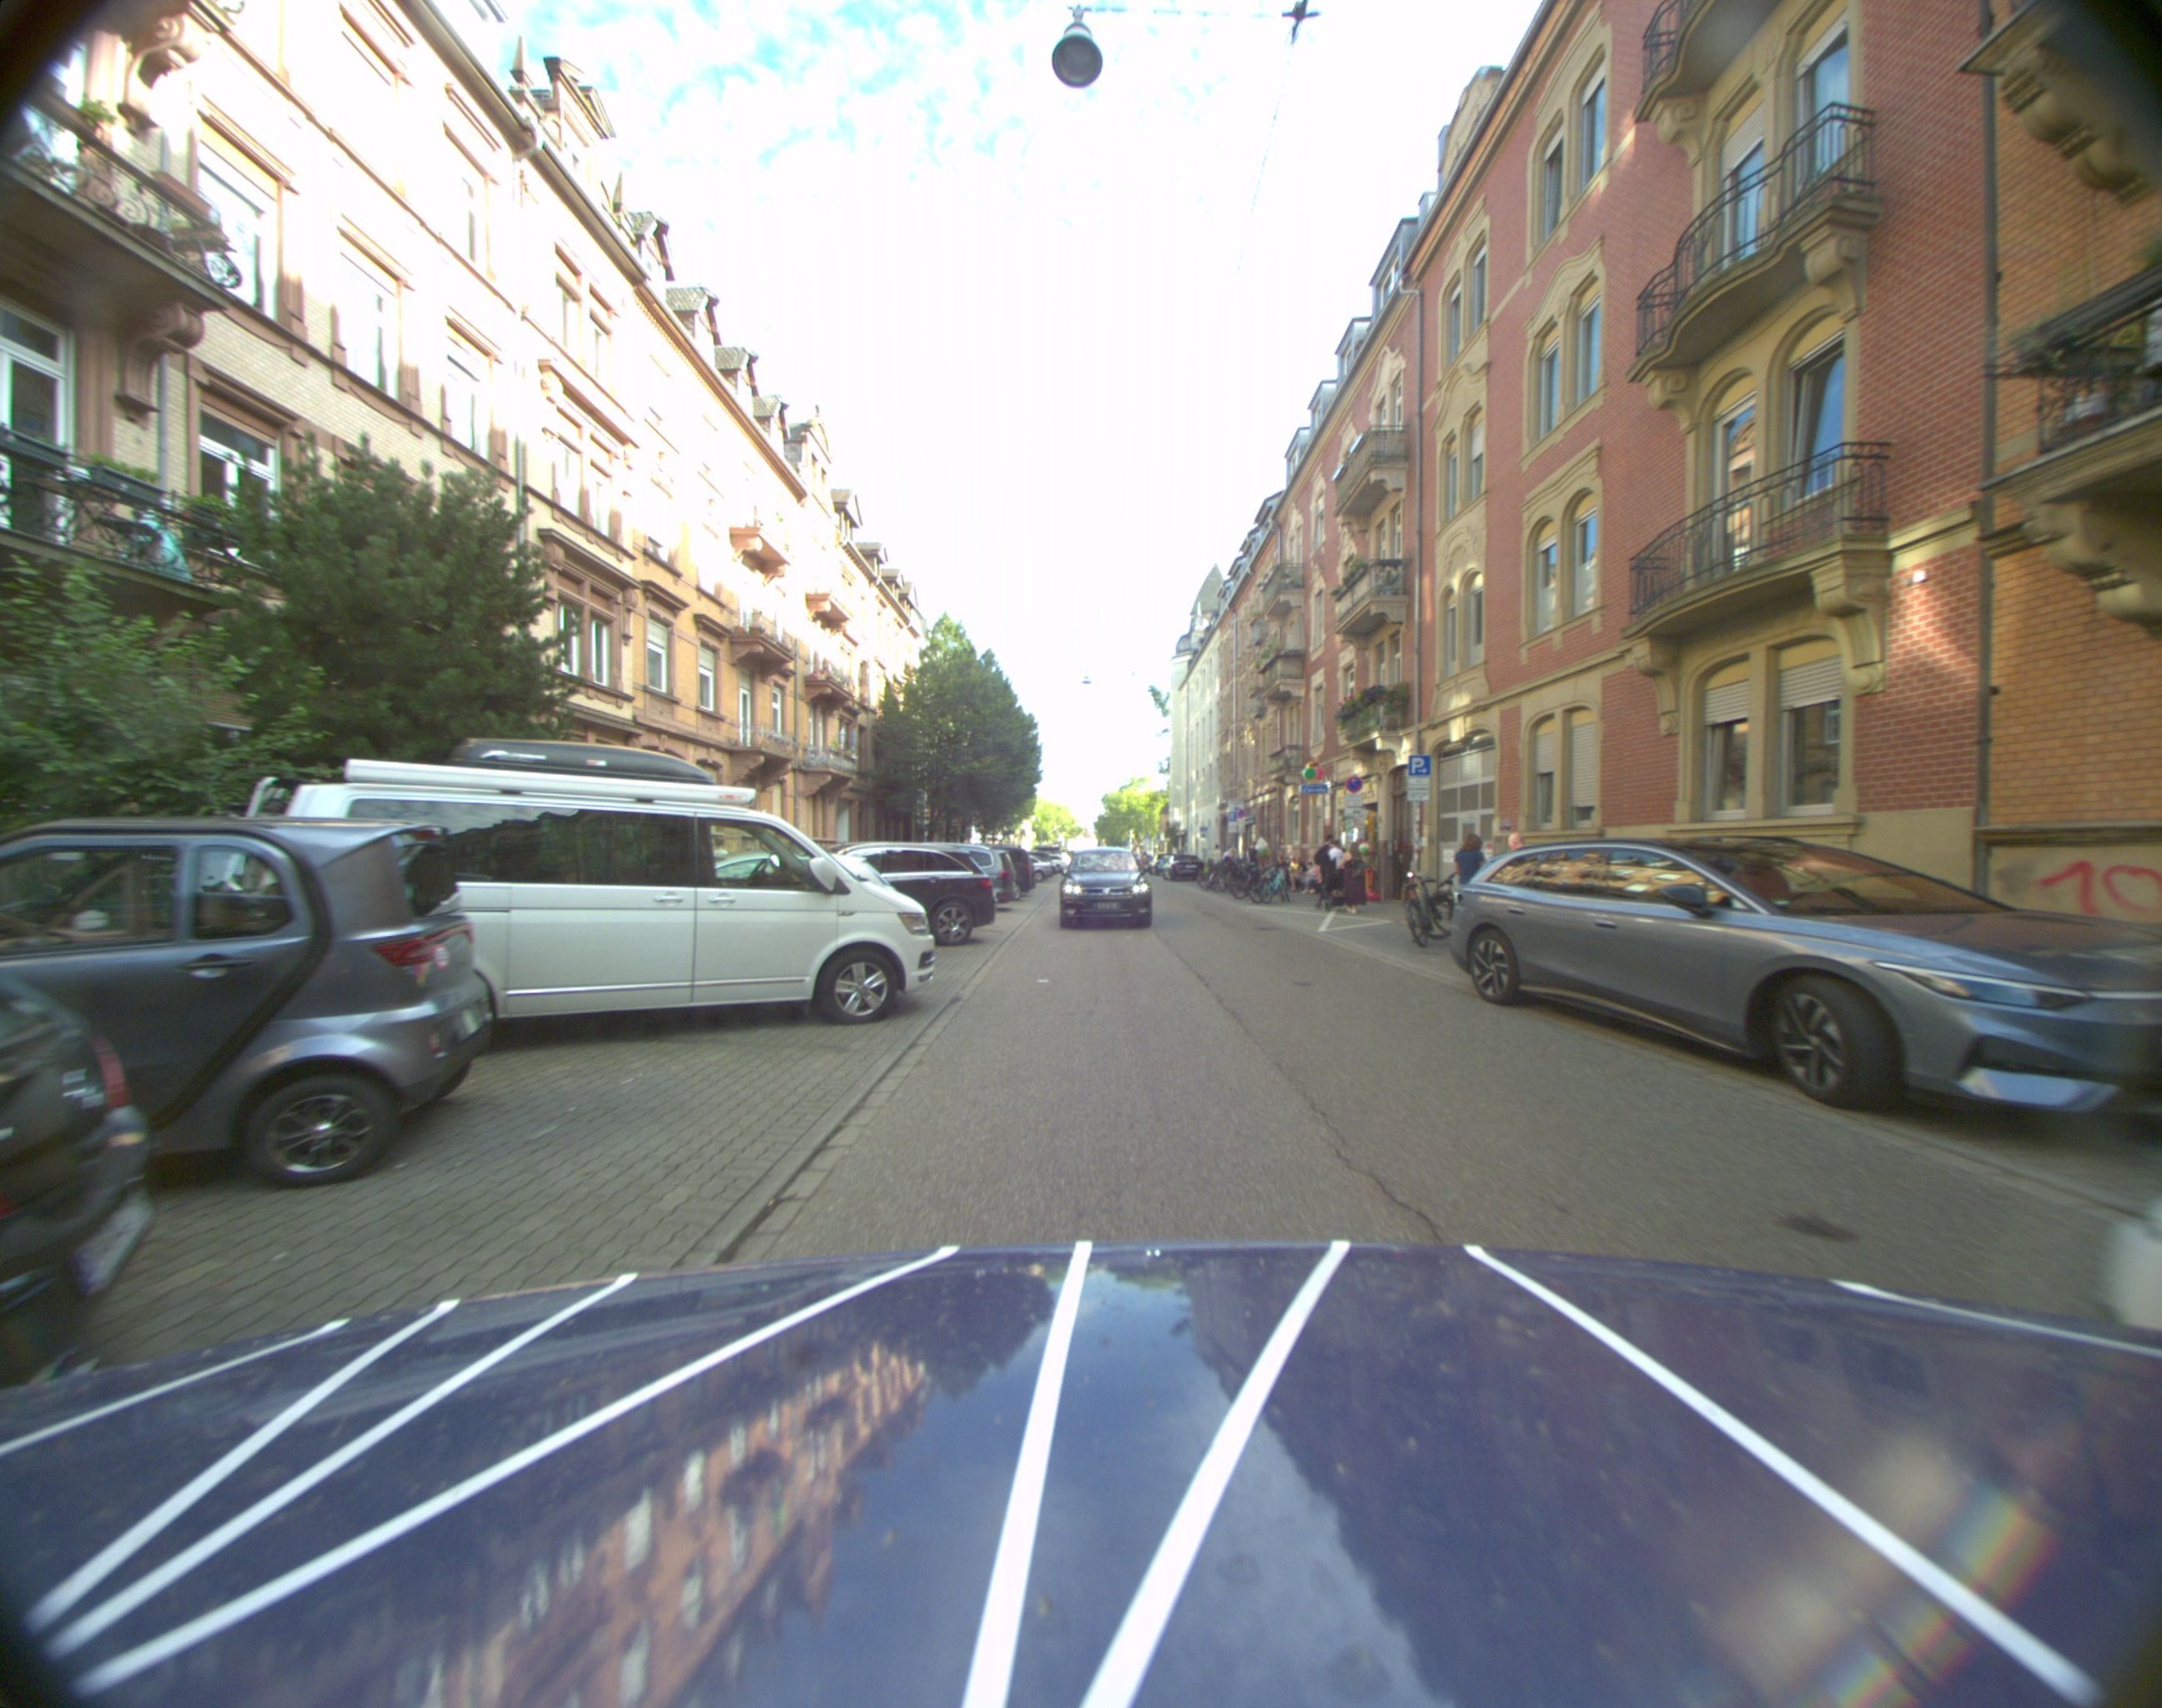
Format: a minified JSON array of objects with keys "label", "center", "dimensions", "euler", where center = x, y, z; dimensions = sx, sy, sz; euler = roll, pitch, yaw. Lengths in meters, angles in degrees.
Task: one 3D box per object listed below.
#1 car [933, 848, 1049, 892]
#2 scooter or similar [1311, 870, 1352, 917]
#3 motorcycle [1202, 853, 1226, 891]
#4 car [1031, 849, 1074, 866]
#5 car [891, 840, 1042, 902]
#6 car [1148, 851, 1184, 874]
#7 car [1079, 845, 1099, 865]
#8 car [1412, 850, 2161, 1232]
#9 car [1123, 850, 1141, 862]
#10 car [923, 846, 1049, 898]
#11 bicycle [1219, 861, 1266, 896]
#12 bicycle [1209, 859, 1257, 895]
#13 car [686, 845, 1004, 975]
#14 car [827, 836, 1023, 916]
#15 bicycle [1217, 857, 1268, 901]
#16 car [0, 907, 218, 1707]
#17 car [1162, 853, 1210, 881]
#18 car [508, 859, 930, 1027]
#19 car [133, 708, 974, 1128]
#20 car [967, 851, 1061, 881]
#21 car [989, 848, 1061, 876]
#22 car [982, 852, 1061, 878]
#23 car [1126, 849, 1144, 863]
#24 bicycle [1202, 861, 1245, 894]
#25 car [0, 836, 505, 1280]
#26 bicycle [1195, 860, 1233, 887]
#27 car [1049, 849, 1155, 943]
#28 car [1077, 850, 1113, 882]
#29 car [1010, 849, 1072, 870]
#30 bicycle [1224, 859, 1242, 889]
[{"label":"car","center":[-3.457,0.641,29.506],"dimensions":[4.009,1.539,1.864],"euler":[2,0,-36]},{"label":"scooter or similar","center":[5.993,0.928,18.236],"dimensions":[0.607,1.049,0.922],"euler":[-1,1,-5]},{"label":"motorcycle","center":[5.173,0.673,29.451],"dimensions":[0.708,1.376,2.026],"euler":[-1,1,15]},{"label":"car","center":[-2.993,0.345,79.284],"dimensions":[4.006,1.663,1.922],"euler":[-1,1,-31]},{"label":"car","center":[-3.624,0.545,24.283],"dimensions":[4.412,1.812,1.750],"euler":[2,1,-31]},{"label":"car","center":[5.561,0.537,50.110],"dimensions":[1.674,1.407,4.011],"euler":[-1,0,-3]},{"label":"car","center":[0.789,0.080,74.740],"dimensions":[1.810,1.914,4.000],"euler":[-2,0,2]},{"label":"car","center":[4.731,0.778,5.874],"dimensions":[1.830,1.569,5.261],"euler":[-1,0,-3]},{"label":"car","center":[6.207,0.200,92.638],"dimensions":[1.911,1.412,4.000],"euler":[-1,0,1]},{"label":"car","center":[-3.336,0.624,26.928],"dimensions":[4.007,1.731,1.835],"euler":[1,0,-30]},{"label":"bicycle","center":[5.620,0.836,26.344],"dimensions":[1.741,1.114,0.554],"euler":[-2,1,-35]},{"label":"bicycle","center":[5.392,0.798,26.934],"dimensions":[1.794,1.193,0.589],"euler":[-2,1,-35]},{"label":"car","center":[-3.687,0.732,12.189],"dimensions":[4.466,1.722,1.995],"euler":[-1,0,-34]},{"label":"car","center":[-3.945,0.548,19.740],"dimensions":[4.648,1.775,1.809],"euler":[3,1,-1]},{"label":"bicycle","center":[5.072,0.762,23.824],"dimensions":[1.680,1.314,0.526],"euler":[-2,1,-35]},{"label":"car","center":[-4.065,0.887,0.764],"dimensions":[4.003,1.451,1.746],"euler":[1,0,-41]},{"label":"car","center":[5.481,0.633,40.248],"dimensions":[1.816,1.343,5.114],"euler":[-1,0,0]},{"label":"car","center":[-4.193,0.864,9.180],"dimensions":[4.245,1.540,1.868],"euler":[-1,0,-34]},{"label":"car","center":[-3.708,0.389,6.509],"dimensions":[5.169,2.391,1.913],"euler":[1,1,-32]},{"label":"car","center":[-3.545,0.624,40.320],"dimensions":[4.620,1.443,1.788],"euler":[2,0,-31]},{"label":"car","center":[-3.417,0.493,46.596],"dimensions":[4.008,1.689,1.848],"euler":[1,0,-34]},{"label":"car","center":[-3.385,0.627,43.669],"dimensions":[4.146,1.409,1.864],"euler":[1,0,-35]},{"label":"car","center":[6.145,0.235,86.553],"dimensions":[1.828,1.477,4.170],"euler":[-1,0,1]},{"label":"bicycle","center":[5.182,0.838,27.552],"dimensions":[1.573,1.114,0.589],"euler":[-2,1,-36]},{"label":"car","center":[-4.368,0.780,3.467],"dimensions":[2.472,1.656,1.344],"euler":[4,-1,-26]},{"label":"bicycle","center":[5.612,0.821,32.075],"dimensions":[1.577,1.110,0.375],"euler":[-1,1,39]},{"label":"car","center":[0.544,0.750,15.887],"dimensions":[1.874,1.644,4.388],"euler":[-1,1,4]},{"label":"car","center":[0.778,0.637,41.467],"dimensions":[1.810,1.622,4.000],"euler":[-2,0,2]},{"label":"car","center":[-3.285,0.456,62.883],"dimensions":[4.817,1.535,1.866],"euler":[2,1,-31]},{"label":"bicycle","center":[5.859,0.762,29.226],"dimensions":[0.579,1.084,1.740],"euler":[-1,1,14]}]
